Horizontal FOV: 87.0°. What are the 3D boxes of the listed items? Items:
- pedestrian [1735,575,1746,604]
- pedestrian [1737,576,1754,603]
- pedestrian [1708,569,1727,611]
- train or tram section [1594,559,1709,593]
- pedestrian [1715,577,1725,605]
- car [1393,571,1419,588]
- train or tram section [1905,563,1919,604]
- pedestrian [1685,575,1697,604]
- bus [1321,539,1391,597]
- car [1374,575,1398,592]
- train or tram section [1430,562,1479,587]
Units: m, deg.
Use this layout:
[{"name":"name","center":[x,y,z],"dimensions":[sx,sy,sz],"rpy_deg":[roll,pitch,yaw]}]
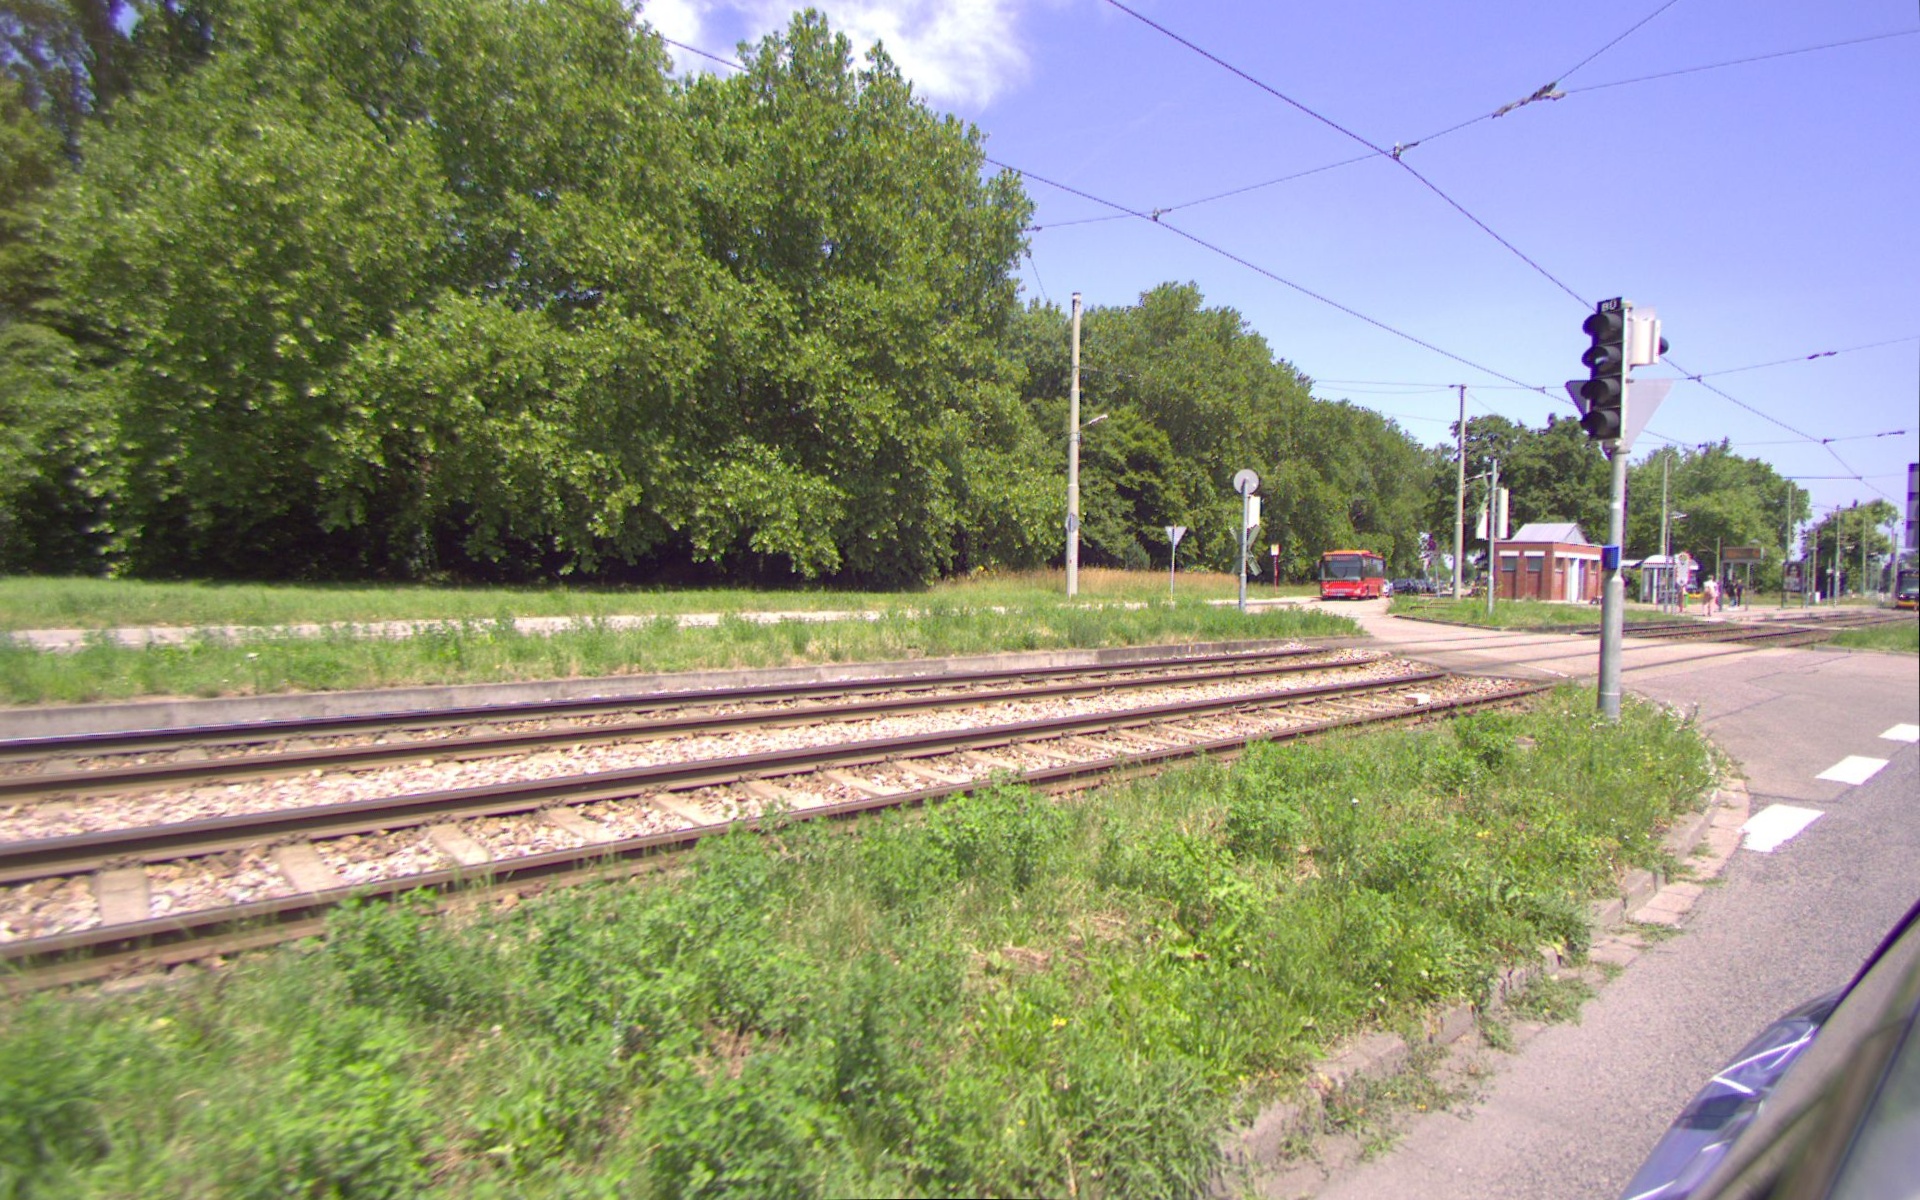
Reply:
[{"name":"pedestrian","center":[45.472,-0.614,58.975],"dimensions":[0.437,1.666,0.361],"rpy_deg":[0,2,-38]},{"name":"pedestrian","center":[52.788,-0.701,67.981],"dimensions":[0.646,1.786,0.707],"rpy_deg":[0,2,-39]},{"name":"pedestrian","center":[32.439,-0.421,43.332],"dimensions":[0.632,1.781,0.806],"rpy_deg":[0,1,35]},{"name":"train or tram section","center":[81.509,-2.841,119.791],"dimensions":[2.659,3.694,13.212],"rpy_deg":[-1,1,-11]},{"name":"pedestrian","center":[45.012,-0.546,59.939],"dimensions":[0.474,1.616,0.361],"rpy_deg":[-1,1,-38]},{"name":"car","center":[42.052,-1.965,95.329],"dimensions":[1.872,1.529,3.959],"rpy_deg":[3,2,29]},{"name":"train or tram section","center":[82.406,-1.355,85.770],"dimensions":[7.132,3.363,2.523],"rpy_deg":[0,2,-41]},{"name":"pedestrian","center":[46.741,-0.683,64.731],"dimensions":[0.726,1.796,0.382],"rpy_deg":[0,2,-38]},{"name":"bus","center":[26.493,-2.096,67.265],"dimensions":[2.744,3.481,12.320],"rpy_deg":[0,1,29]},{"name":"car","center":[33.458,-1.307,79.467],"dimensions":[1.557,1.281,3.965],"rpy_deg":[3,2,26]},{"name":"train or tram section","center":[77.031,-4.057,157.983],"dimensions":[2.670,3.663,13.225],"rpy_deg":[2,2,8]}]
